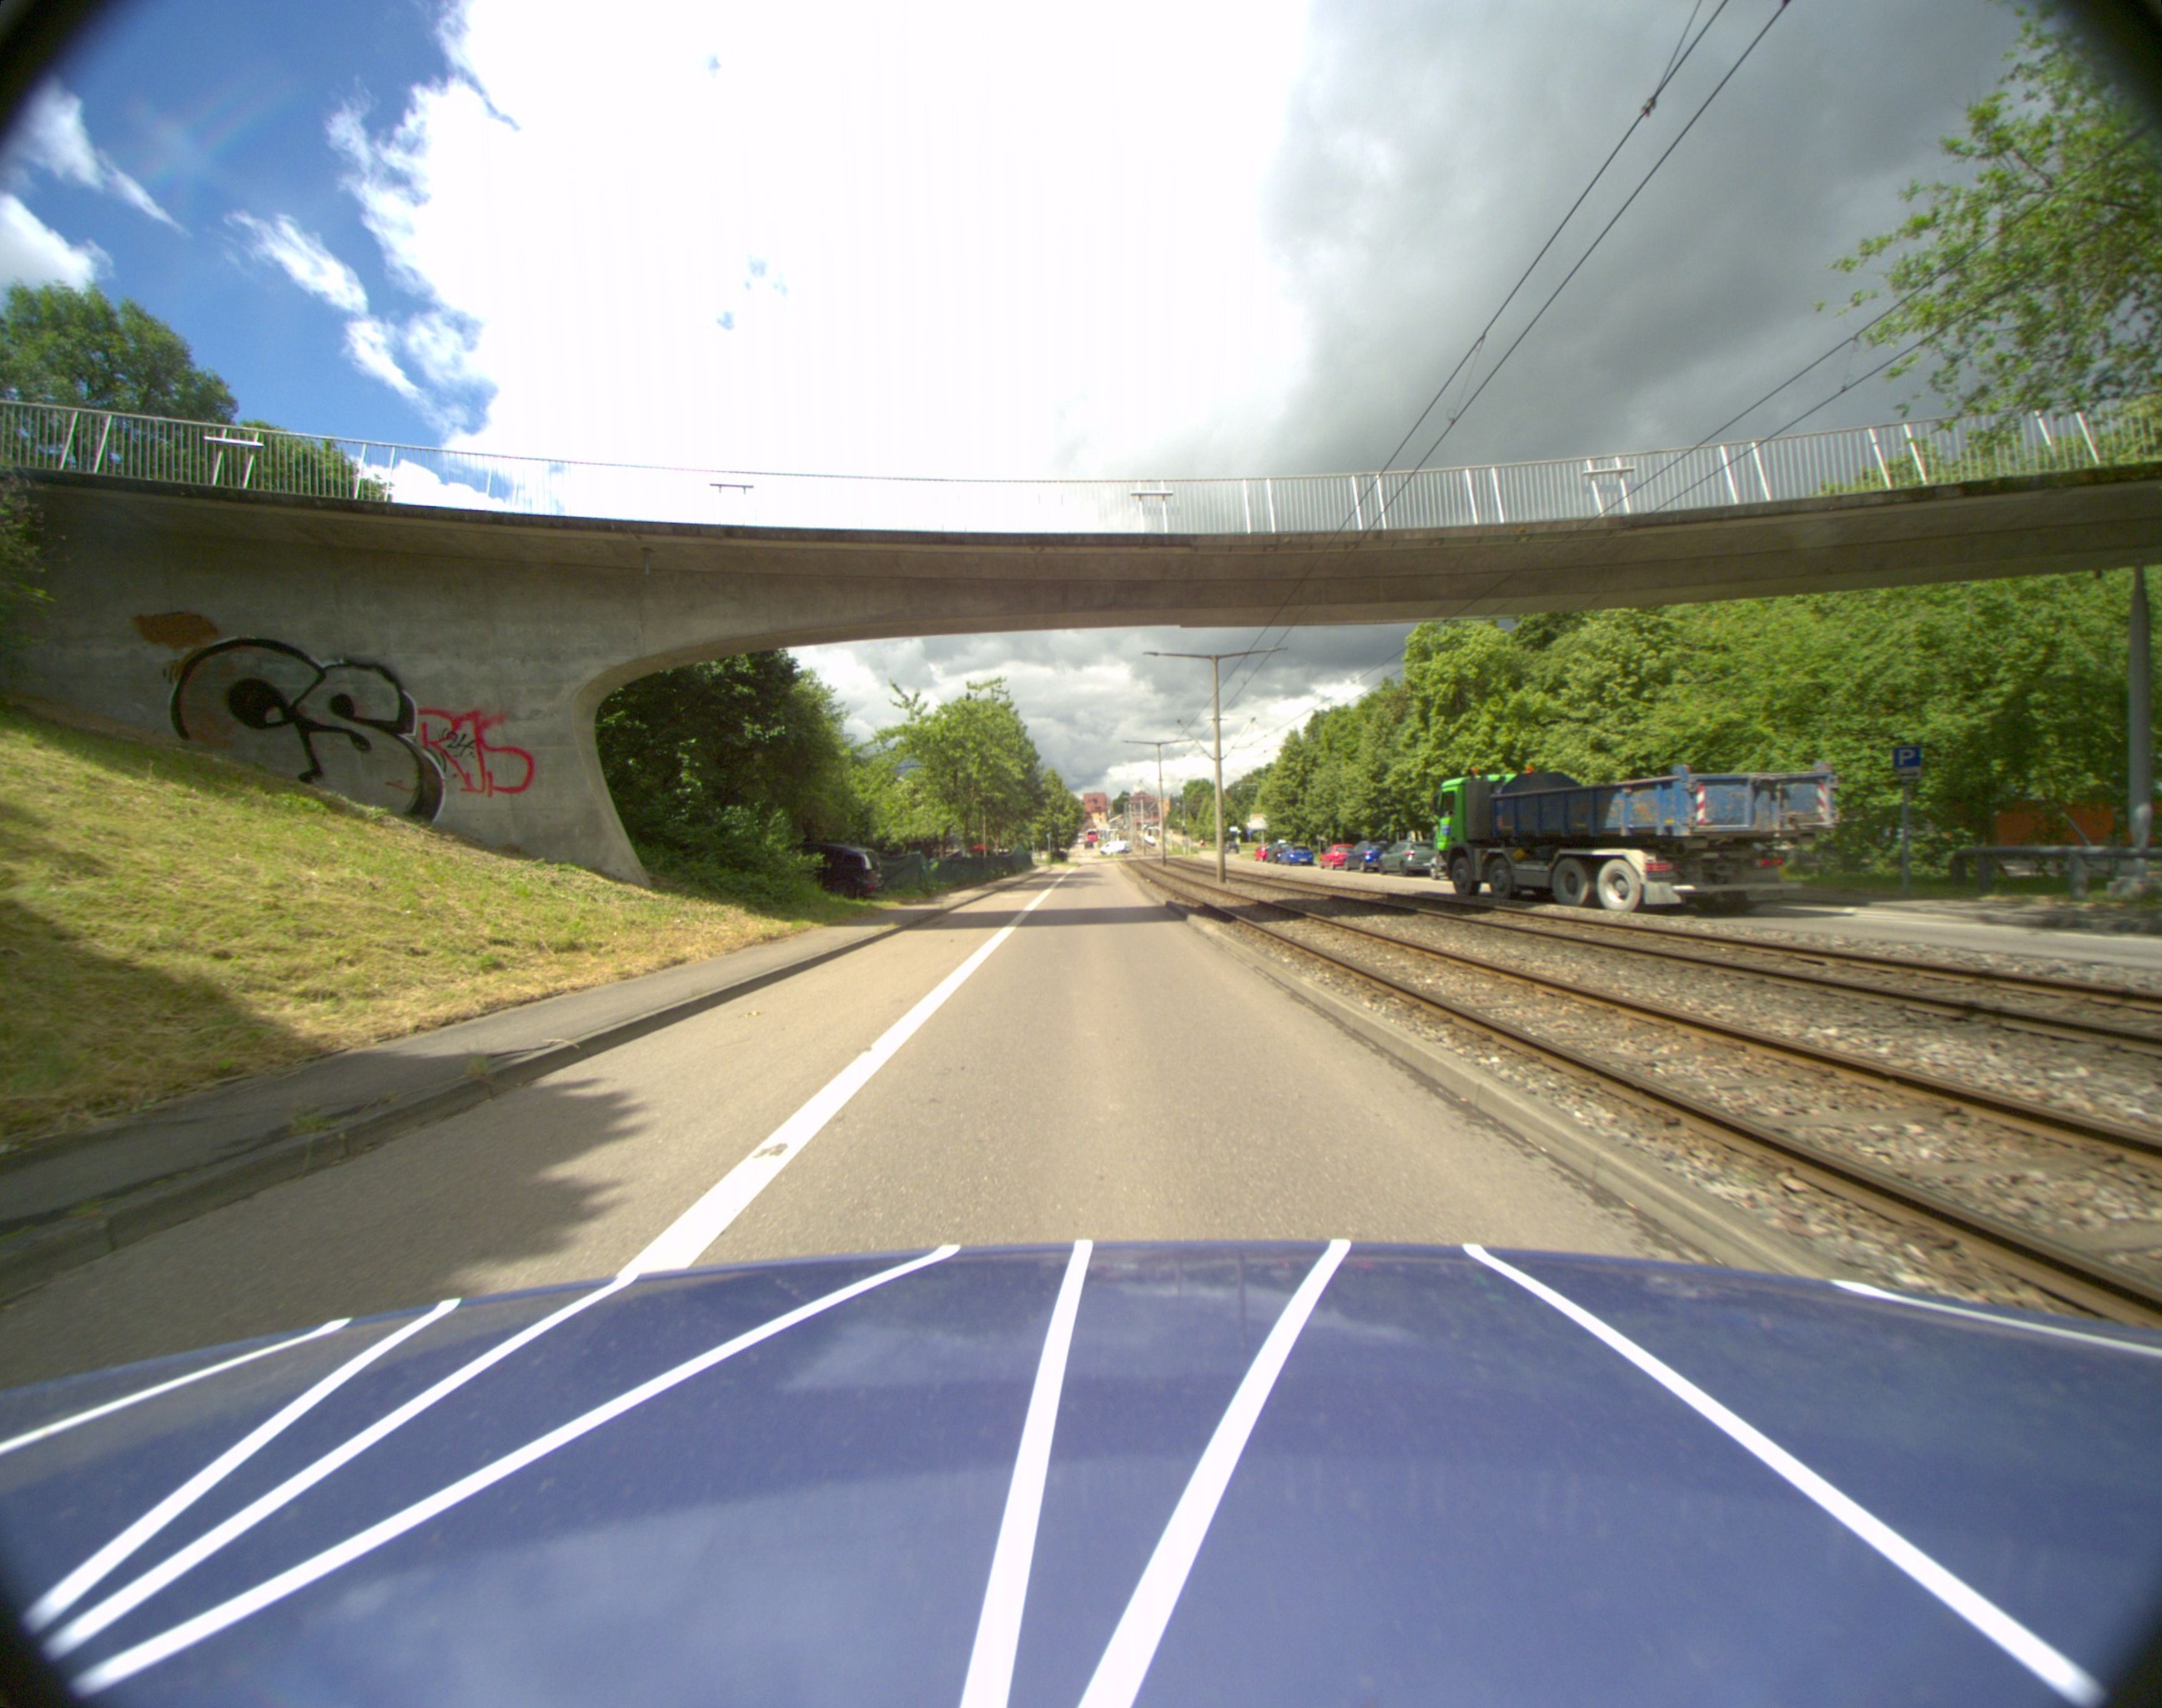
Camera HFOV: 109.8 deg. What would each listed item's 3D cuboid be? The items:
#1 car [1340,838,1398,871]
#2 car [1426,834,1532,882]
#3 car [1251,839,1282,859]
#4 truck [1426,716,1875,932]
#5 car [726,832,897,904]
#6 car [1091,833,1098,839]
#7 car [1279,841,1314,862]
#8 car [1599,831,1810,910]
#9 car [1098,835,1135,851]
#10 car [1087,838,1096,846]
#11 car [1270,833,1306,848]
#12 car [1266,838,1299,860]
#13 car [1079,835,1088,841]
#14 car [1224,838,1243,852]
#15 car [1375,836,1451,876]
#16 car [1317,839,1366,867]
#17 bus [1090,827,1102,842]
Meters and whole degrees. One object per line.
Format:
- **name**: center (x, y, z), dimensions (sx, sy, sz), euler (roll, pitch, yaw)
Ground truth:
- **car**: center (14.749, -0.015, 39.155), dimensions (1.561, 1.587, 4.160), euler (-1, 1, 3)
- **car**: center (14.297, 0.116, 27.567), dimensions (1.597, 1.485, 4.192), euler (-4, 0, 1)
- **car**: center (15.899, -0.455, 65.289), dimensions (1.617, 1.444, 3.659), euler (-4, 2, -2)
- **truck**: center (11.378, -0.607, 16.900), dimensions (2.879, 3.301, 9.026), euler (-4, 2, -2)
- **car**: center (-8.376, 0.378, 23.904), dimensions (4.535, 1.662, 1.999), euler (6, 3, 2)
- **car**: center (3.484, -4.742, 199.554), dimensions (1.738, 1.501, 3.514), euler (-4, 2, 3)
- **car**: center (15.289, -0.190, 54.120), dimensions (1.616, 1.452, 4.008), euler (-1, 1, 4)
- **car**: center (13.938, 0.282, 17.319), dimensions (1.693, 1.442, 3.897), euler (-4, 2, 3)
- **car**: center (5.399, -1.650, 114.983), dimensions (5.221, 2.007, 1.884), euler (-2, 3, 35)
- **car**: center (2.169, -2.551, 157.001), dimensions (1.858, 1.576, 4.324), euler (-2, 1, -1)
- **car**: center (28.735, -1.865, 105.483), dimensions (4.352, 1.680, 1.740), euler (-5, 2, -14)
- **car**: center (15.635, -0.384, 59.203), dimensions (1.584, 1.596, 4.375), euler (-1, 1, 3)
- **car**: center (0.628, -4.099, 190.650), dimensions (1.939, 1.374, 4.660), euler (-4, 2, 2)
- **car**: center (19.136, -1.119, 95.551), dimensions (1.617, 1.565, 3.999), euler (-4, 2, 2)
- **car**: center (14.515, 0.026, 33.427), dimensions (1.646, 1.613, 4.125), euler (1, 1, 3)
- **car**: center (15.028, -0.046, 44.048), dimensions (1.616, 1.485, 4.048), euler (-2, 0, 4)
- **bus**: center (4.161, -5.455, 208.954), dimensions (2.923, 3.864, 10.378), euler (-3, 1, 3)
